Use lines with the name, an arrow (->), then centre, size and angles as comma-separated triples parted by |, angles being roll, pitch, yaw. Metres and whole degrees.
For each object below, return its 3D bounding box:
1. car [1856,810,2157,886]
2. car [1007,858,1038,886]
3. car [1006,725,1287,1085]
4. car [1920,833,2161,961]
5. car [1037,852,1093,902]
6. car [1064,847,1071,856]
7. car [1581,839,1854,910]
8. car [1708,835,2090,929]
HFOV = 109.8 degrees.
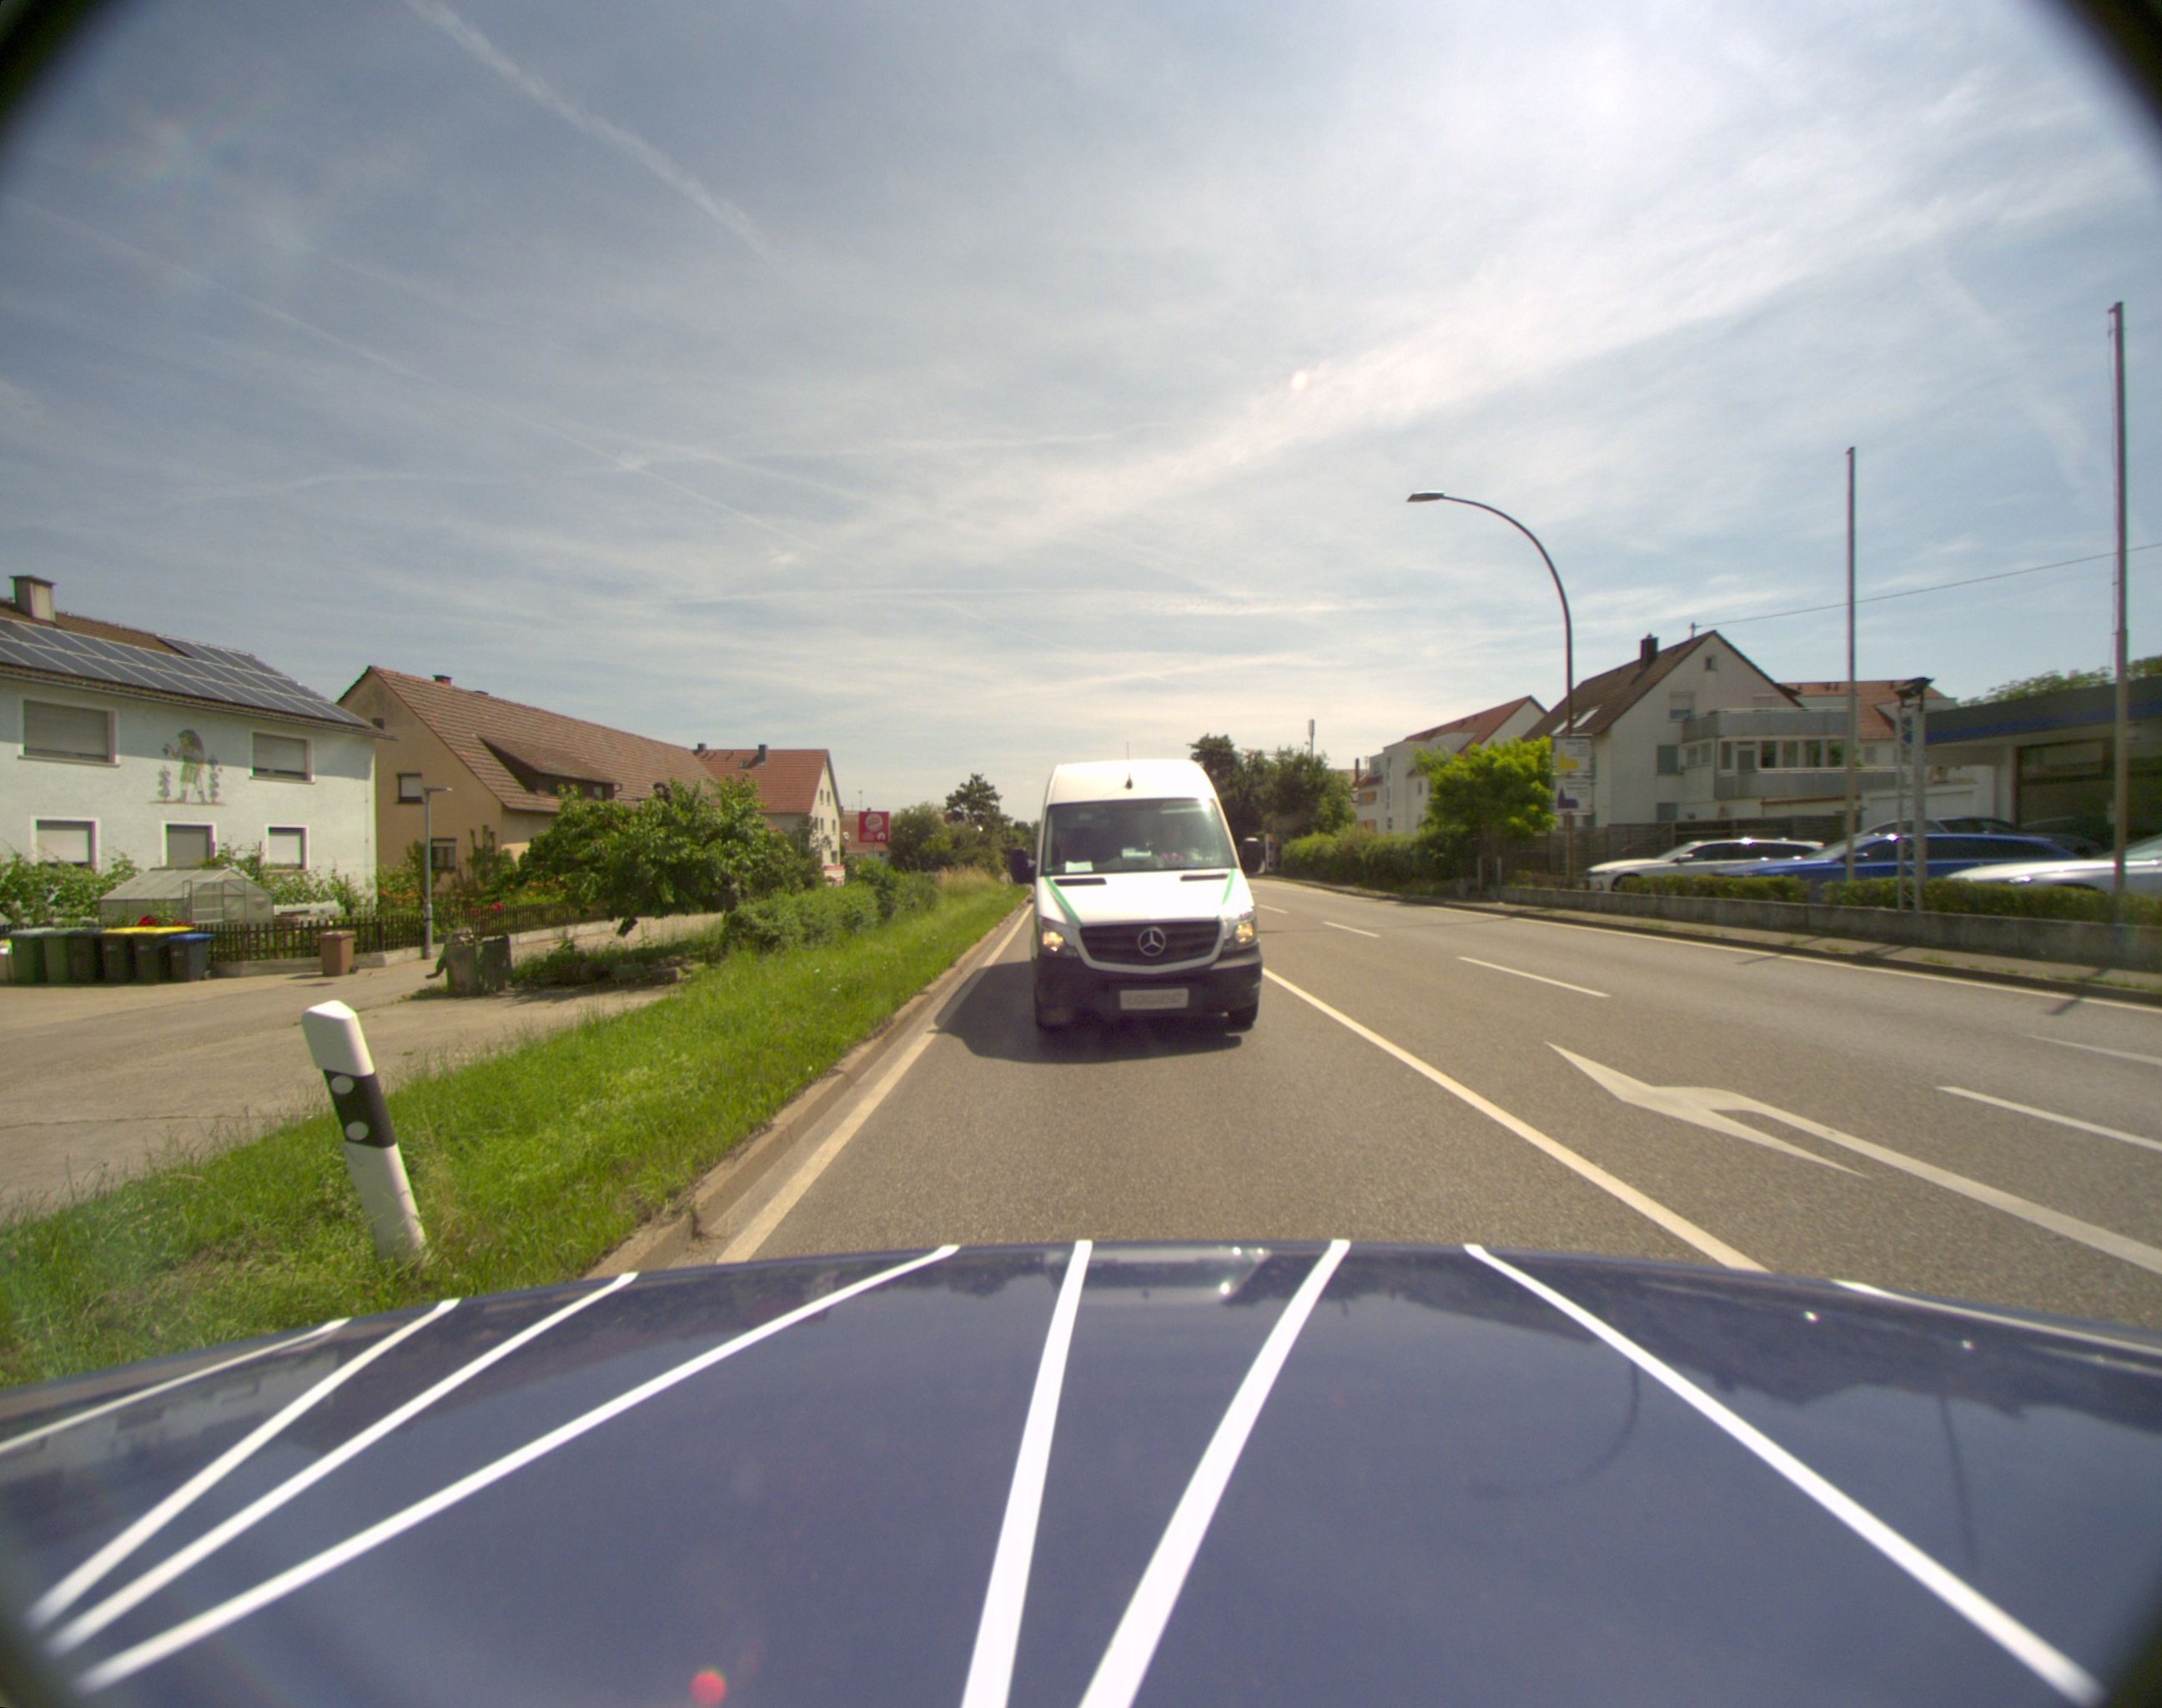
car -> 20.757, -0.122, 17.438 | 1.807, 1.456, 4.585 | -2, 0, 10
car -> -3.550, 1.091, 46.524 | 1.636, 1.476, 3.551 | -4, 1, -2
car -> 0.461, 0.360, 8.293 | 1.939, 2.514, 5.748 | -2, 0, 0
car -> 14.059, 0.472, 9.424 | 4.505, 1.439, 1.860 | -4, 0, 30
car -> -0.557, 0.796, 28.660 | 1.884, 1.652, 4.625 | -2, 0, 0
car -> -4.314, -0.751, 240.224 | 1.998, 2.573, 3.999 | -2, 1, 0
car -> 14.464, 0.465, 17.667 | 4.568, 1.439, 1.860 | -2, 1, 29
car -> 14.313, 0.485, 13.728 | 4.331, 1.439, 1.860 | -2, 1, 29
